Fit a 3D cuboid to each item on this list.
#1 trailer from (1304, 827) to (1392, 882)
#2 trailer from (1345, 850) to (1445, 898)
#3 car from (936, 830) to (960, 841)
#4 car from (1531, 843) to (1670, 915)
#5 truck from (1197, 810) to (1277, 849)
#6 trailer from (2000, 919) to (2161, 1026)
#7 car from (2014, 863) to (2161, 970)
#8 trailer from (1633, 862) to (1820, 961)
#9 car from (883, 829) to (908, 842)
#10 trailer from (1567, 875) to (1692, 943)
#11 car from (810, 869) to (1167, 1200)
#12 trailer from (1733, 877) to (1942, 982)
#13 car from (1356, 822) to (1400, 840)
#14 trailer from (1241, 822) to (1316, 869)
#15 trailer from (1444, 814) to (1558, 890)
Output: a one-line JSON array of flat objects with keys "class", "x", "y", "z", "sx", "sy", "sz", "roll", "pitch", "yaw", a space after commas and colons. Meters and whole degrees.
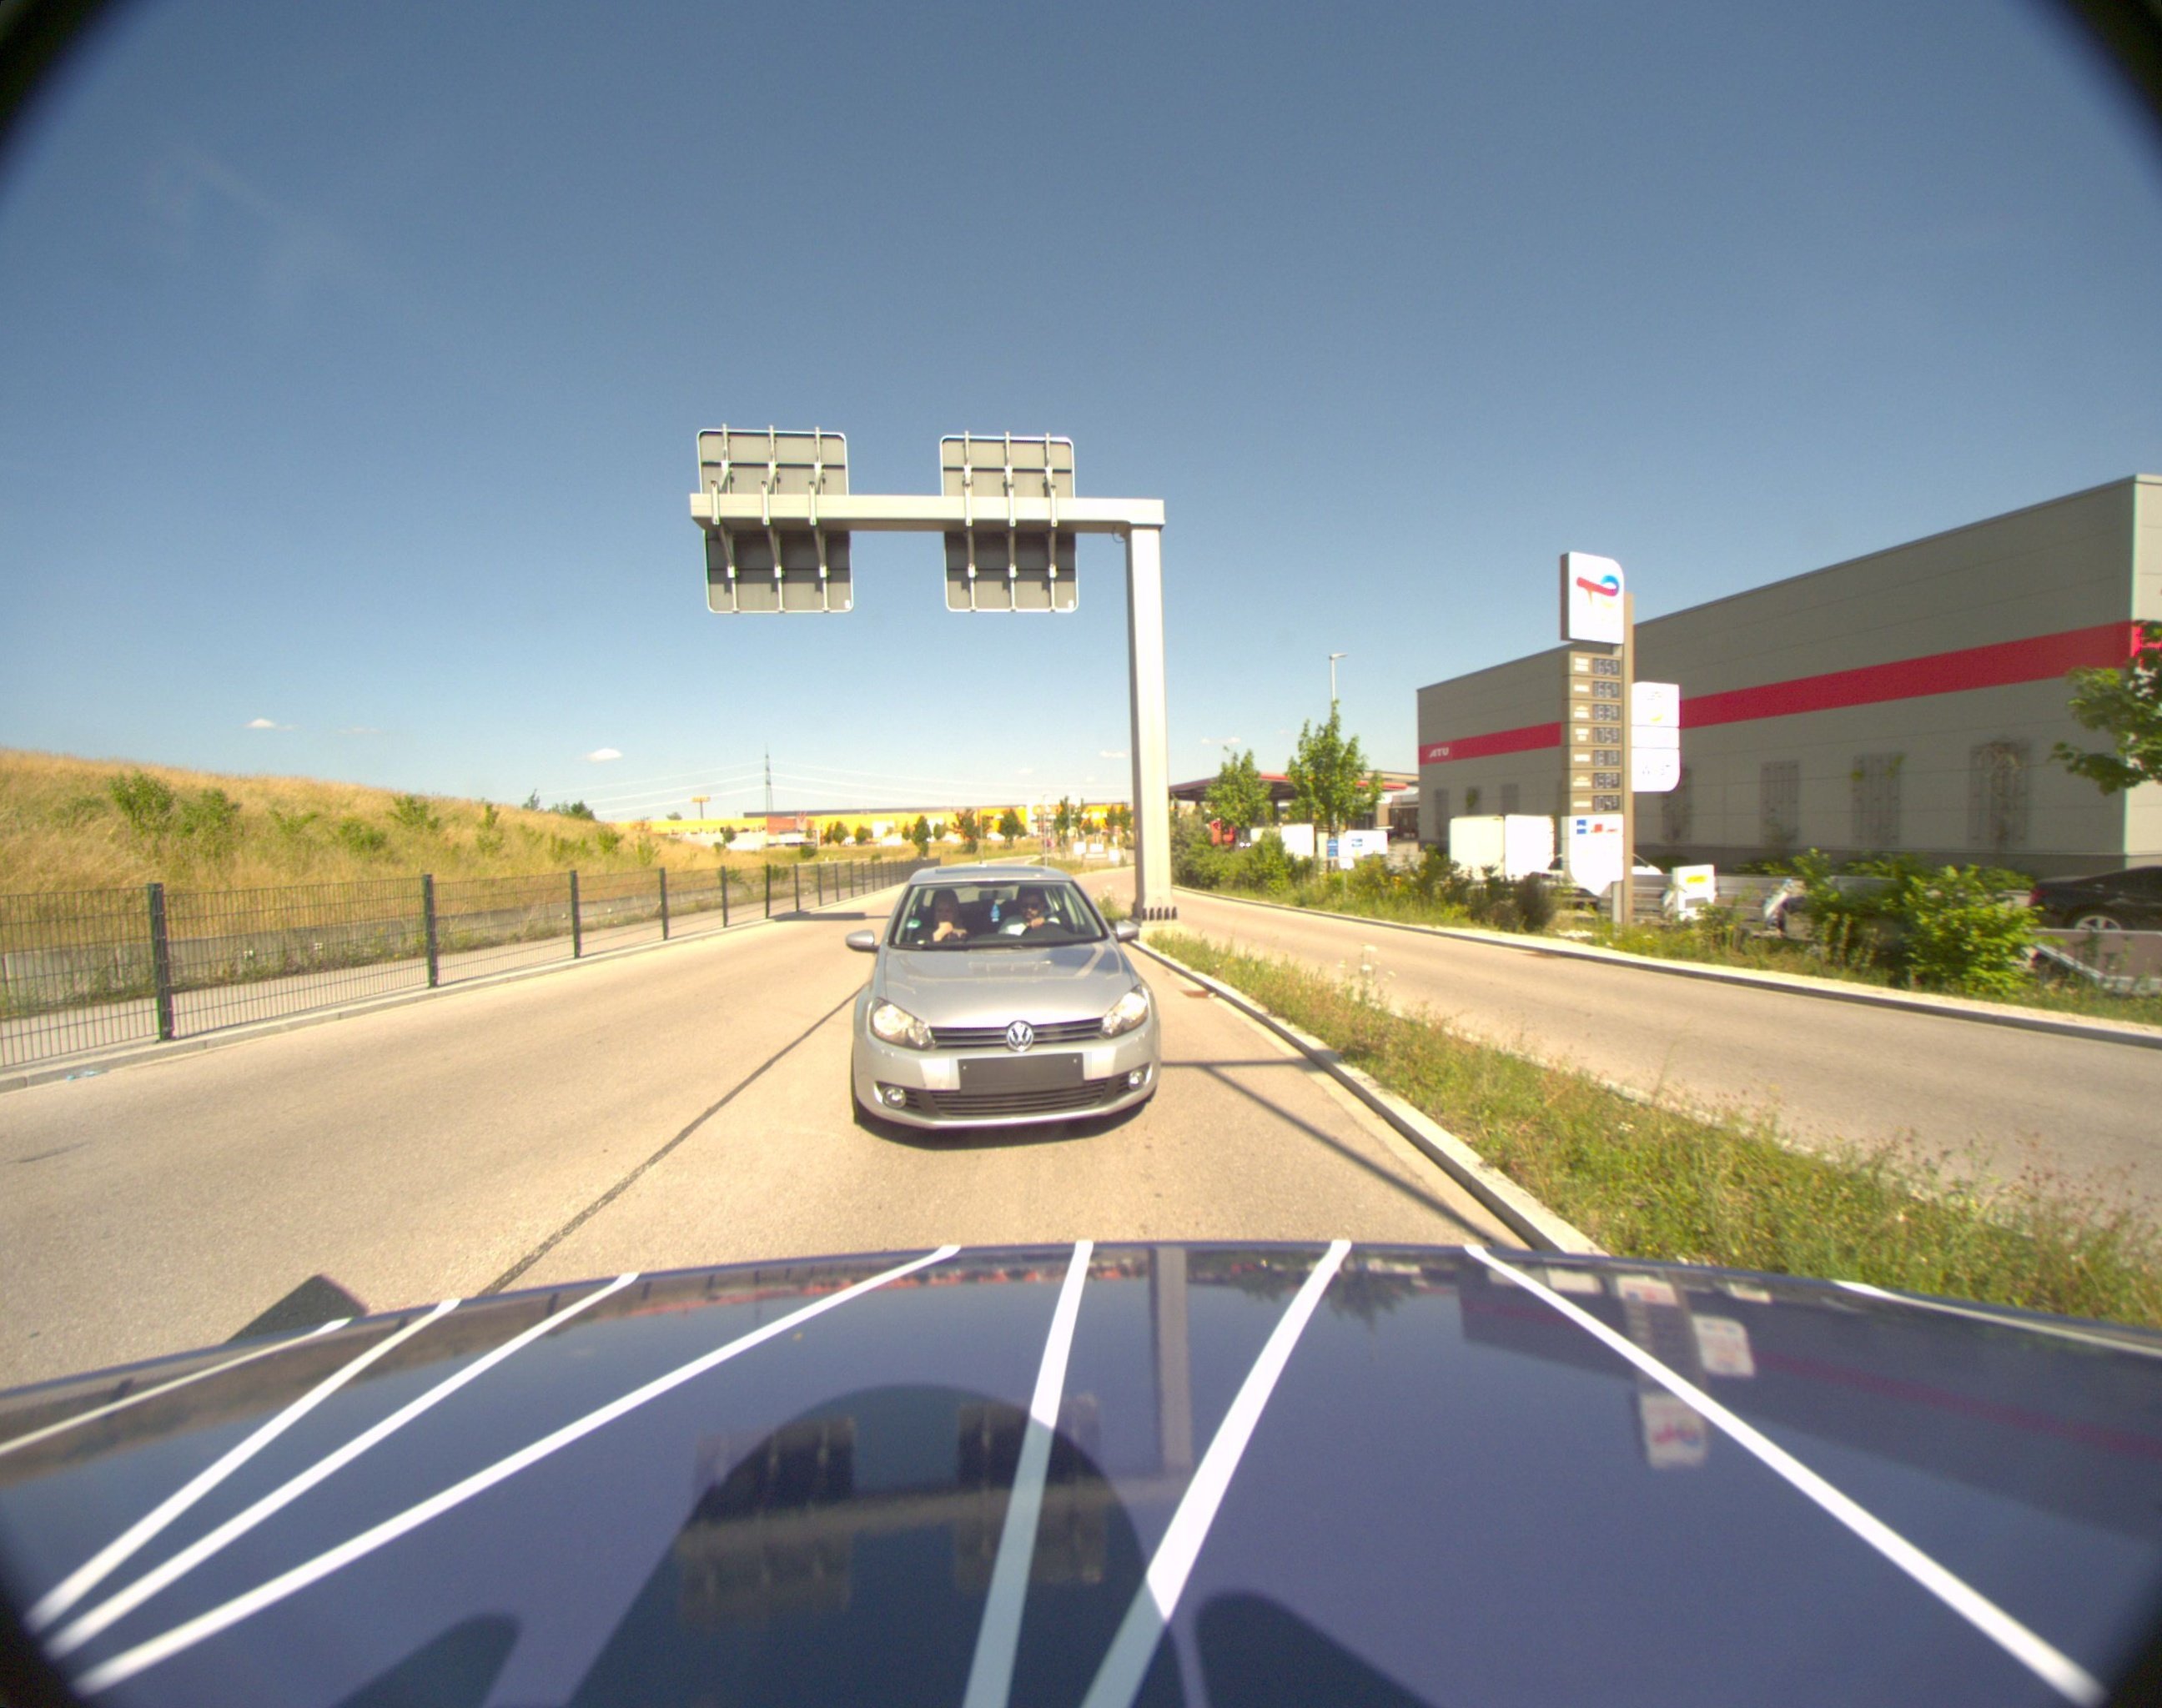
[{"class": "trailer", "x": 10.627, "y": 0.014, "z": 30.239, "sx": 2.741, "sy": 2.002, "sz": 1.995, "roll": -4, "pitch": 2, "yaw": -34}, {"class": "trailer", "x": 11.510, "y": 0.691, "z": 27.781, "sx": 3.605, "sy": 1.502, "sz": 1.596, "roll": -4, "pitch": 1, "yaw": -34}, {"class": "car", "x": -26.483, "y": -3.756, "z": 151.446, "sx": 4.637, "sy": 2.002, "sz": 1.998, "roll": -3, "pitch": 2, "yaw": -11}, {"class": "car", "x": 13.525, "y": 0.577, "z": 19.718, "sx": 4.006, "sy": 1.527, "sz": 1.714, "roll": -4, "pitch": 2, "yaw": -36}, {"class": "truck", "x": 14.685, "y": -2.292, "z": 71.480, "sx": 6.910, "sy": 3.300, "sz": 2.637, "roll": -3, "pitch": 2, "yaw": -17}, {"class": "trailer", "x": 13.402, "y": 1.479, "z": 9.859, "sx": 2.842, "sy": 0.877, "sz": 1.861, "roll": -4, "pitch": 2, "yaw": -39}, {"class": "car", "x": 17.067, "y": 0.954, "z": 10.833, "sx": 1.803, "sy": 1.475, "sz": 4.494, "roll": -3, "pitch": 1, "yaw": -6}, {"class": "trailer", "x": 11.978, "y": 0.974, "z": 14.085, "sx": 3.195, "sy": 1.475, "sz": 1.545, "roll": -3, "pitch": 2, "yaw": -28}, {"class": "car", "x": -36.618, "y": -3.648, "z": 149.881, "sx": 4.637, "sy": 2.534, "sz": 1.998, "roll": -3, "pitch": 2, "yaw": -11}, {"class": "trailer", "x": 11.329, "y": 1.078, "z": 15.658, "sx": 2.780, "sy": 1.080, "sz": 1.317, "roll": -4, "pitch": 2, "yaw": -37}, {"class": "car", "x": -0.698, "y": 0.912, "z": 5.724, "sx": 1.747, "sy": 1.459, "sz": 3.957, "roll": 0, "pitch": 1, "yaw": -8}, {"class": "trailer", "x": 12.296, "y": 1.148, "z": 12.351, "sx": 2.915, "sy": 1.314, "sz": 1.387, "roll": -3, "pitch": 2, "yaw": -23}, {"class": "car", "x": 29.167, "y": -2.266, "z": 74.645, "sx": 3.683, "sy": 1.566, "sz": 1.695, "roll": -3, "pitch": 2, "yaw": -1}, {"class": "trailer", "x": 9.219, "y": -0.416, "z": 35.439, "sx": 1.994, "sy": 2.002, "sz": 3.212, "roll": -1, "pitch": 2, "yaw": 44}, {"class": "trailer", "x": 12.312, "y": -0.109, "z": 22.210, "sx": 3.245, "sy": 2.002, "sz": 1.743, "roll": -4, "pitch": 2, "yaw": -38}]
